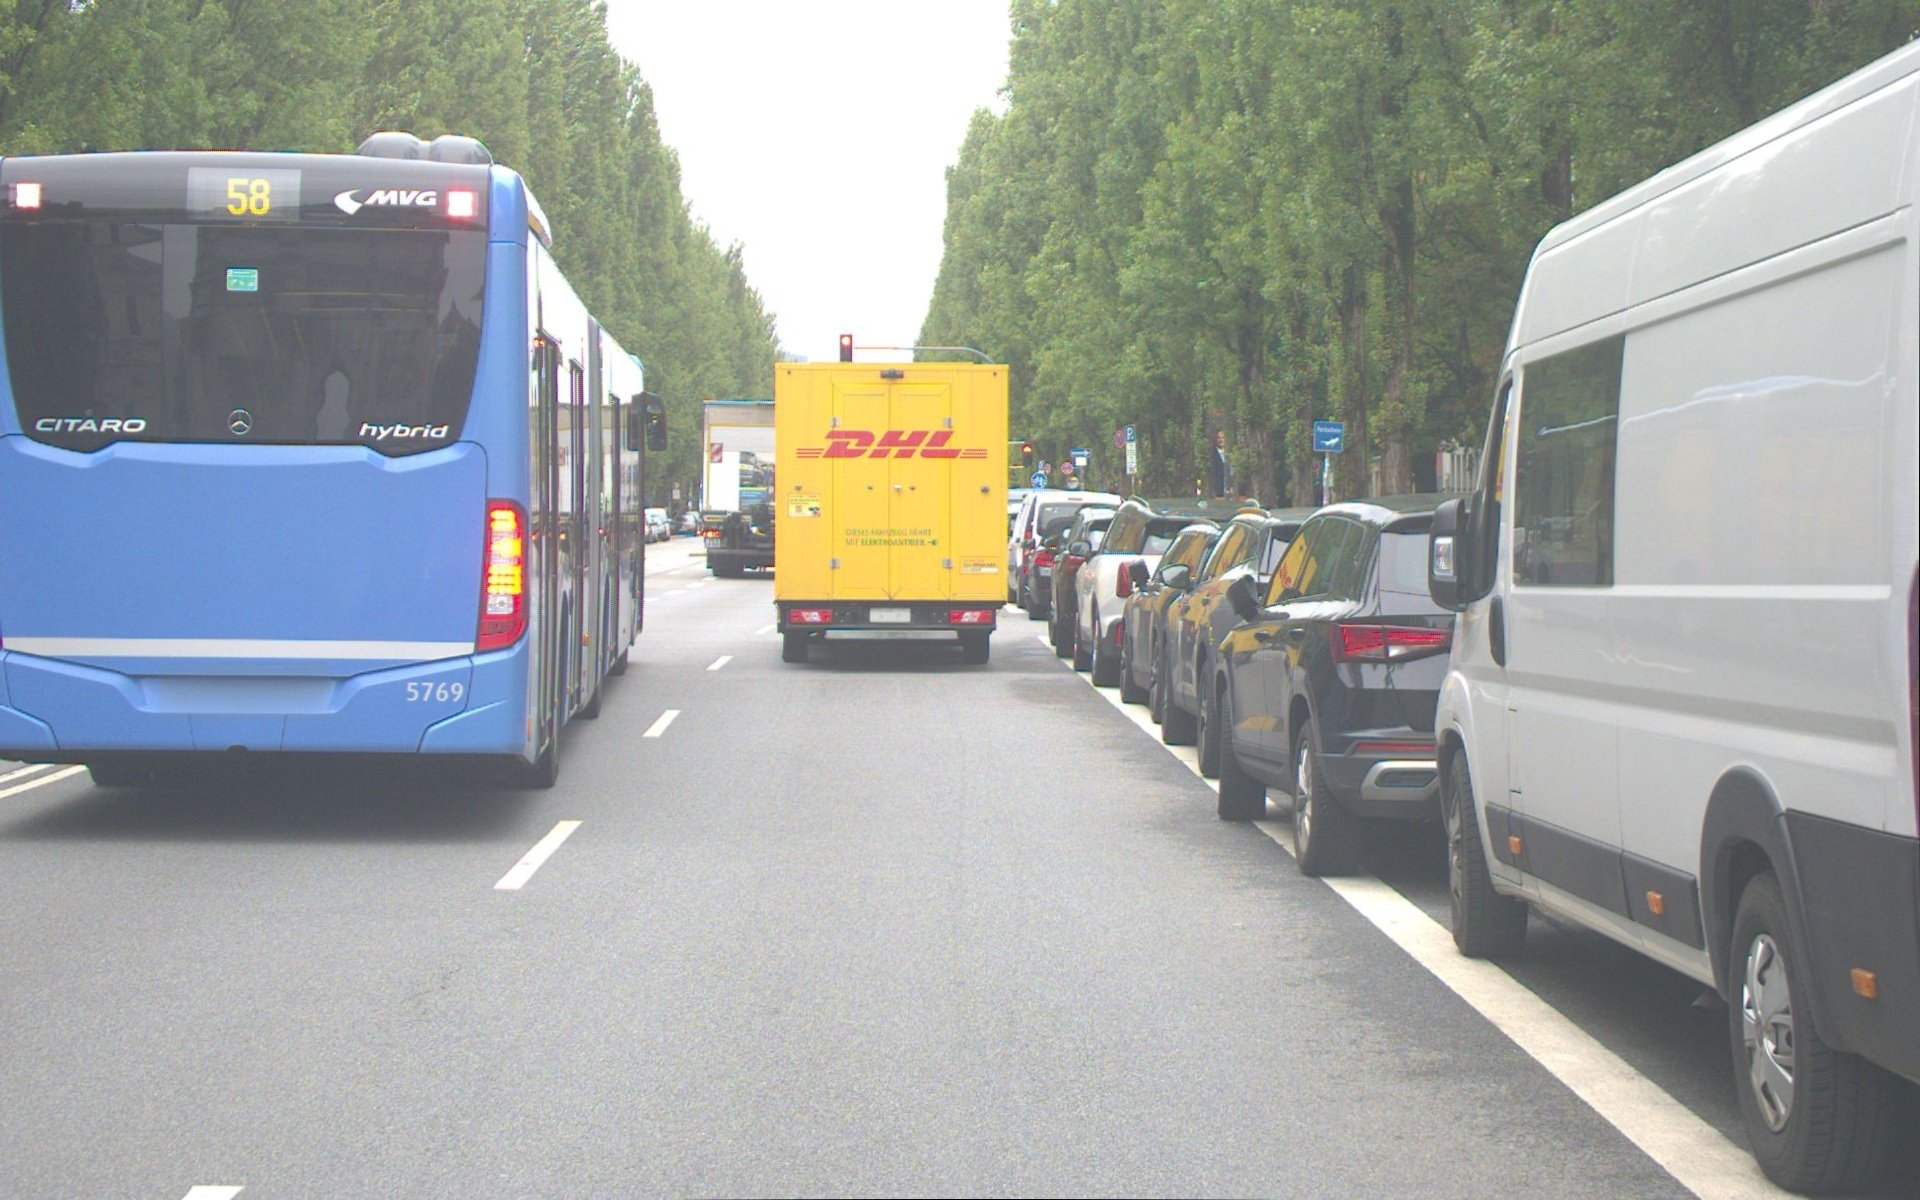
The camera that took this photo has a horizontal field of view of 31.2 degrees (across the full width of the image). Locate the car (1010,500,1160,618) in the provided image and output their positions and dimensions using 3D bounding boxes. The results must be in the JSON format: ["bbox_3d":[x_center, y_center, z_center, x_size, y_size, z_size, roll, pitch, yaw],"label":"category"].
[{"bbox_3d":[1.672,-0.602,47.266,1.863,1.546,4.000,0,2,-1],"label":"car"}]

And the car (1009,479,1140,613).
[{"bbox_3d":[1.718,-0.857,52.778,1.806,1.969,4.237,0,2,-1],"label":"car"}]

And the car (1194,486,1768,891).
[{"bbox_3d":[2.189,0.290,15.599,1.820,1.584,4.224,0,2,-2],"label":"car"}]

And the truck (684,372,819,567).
[{"bbox_3d":[-4.542,-2.810,74.997,2.715,3.951,9.220,-1,2,-3],"label":"truck"}]

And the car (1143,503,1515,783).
[{"bbox_3d":[2.109,0.176,20.688,1.651,1.498,4.114,1,2,-2],"label":"car"}]

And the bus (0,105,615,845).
[{"bbox_3d":[-3.573,-0.681,19.457,2.855,3.202,9.061,0,2,-3],"label":"bus"}]

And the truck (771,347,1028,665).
[{"bbox_3d":[-0.674,-0.964,35.049,2.327,2.888,7.334,0,2,-2],"label":"truck"}]

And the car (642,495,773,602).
[{"bbox_3d":[-4.416,-0.944,60.826,2.035,1.795,4.508,-1,2,-1],"label":"car"}]

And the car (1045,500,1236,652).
[{"bbox_3d":[1.840,-0.301,36.149,1.725,1.490,4.324,0,2,-1],"label":"car"}]

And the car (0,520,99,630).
[{"bbox_3d":[-13.745,-0.380,50.141,1.742,1.513,4.119,-2,2,-7],"label":"car"}]

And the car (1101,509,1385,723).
[{"bbox_3d":[2.063,0.058,26.083,1.633,1.441,4.149,2,2,-2],"label":"car"}]

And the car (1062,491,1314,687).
[{"bbox_3d":[1.944,-0.149,30.476,1.780,1.576,4.147,1,2,-2],"label":"car"}]

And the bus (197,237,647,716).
[{"bbox_3d":[-4.156,-1.000,28.640,2.871,3.292,9.791,0,2,-4],"label":"bus"}]

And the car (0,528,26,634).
[{"bbox_3d":[-13.701,-0.203,45.502,1.685,1.408,4.005,-2,2,-2],"label":"car"}]

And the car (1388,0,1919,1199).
[{"bbox_3d":[2.707,-0.075,9.437,2.074,2.470,6.285,1,2,-2],"label":"car"}]

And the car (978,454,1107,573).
[{"bbox_3d":[1.417,-1.564,61.111,2.052,2.006,5.693,-1,2,-1],"label":"car"}]
